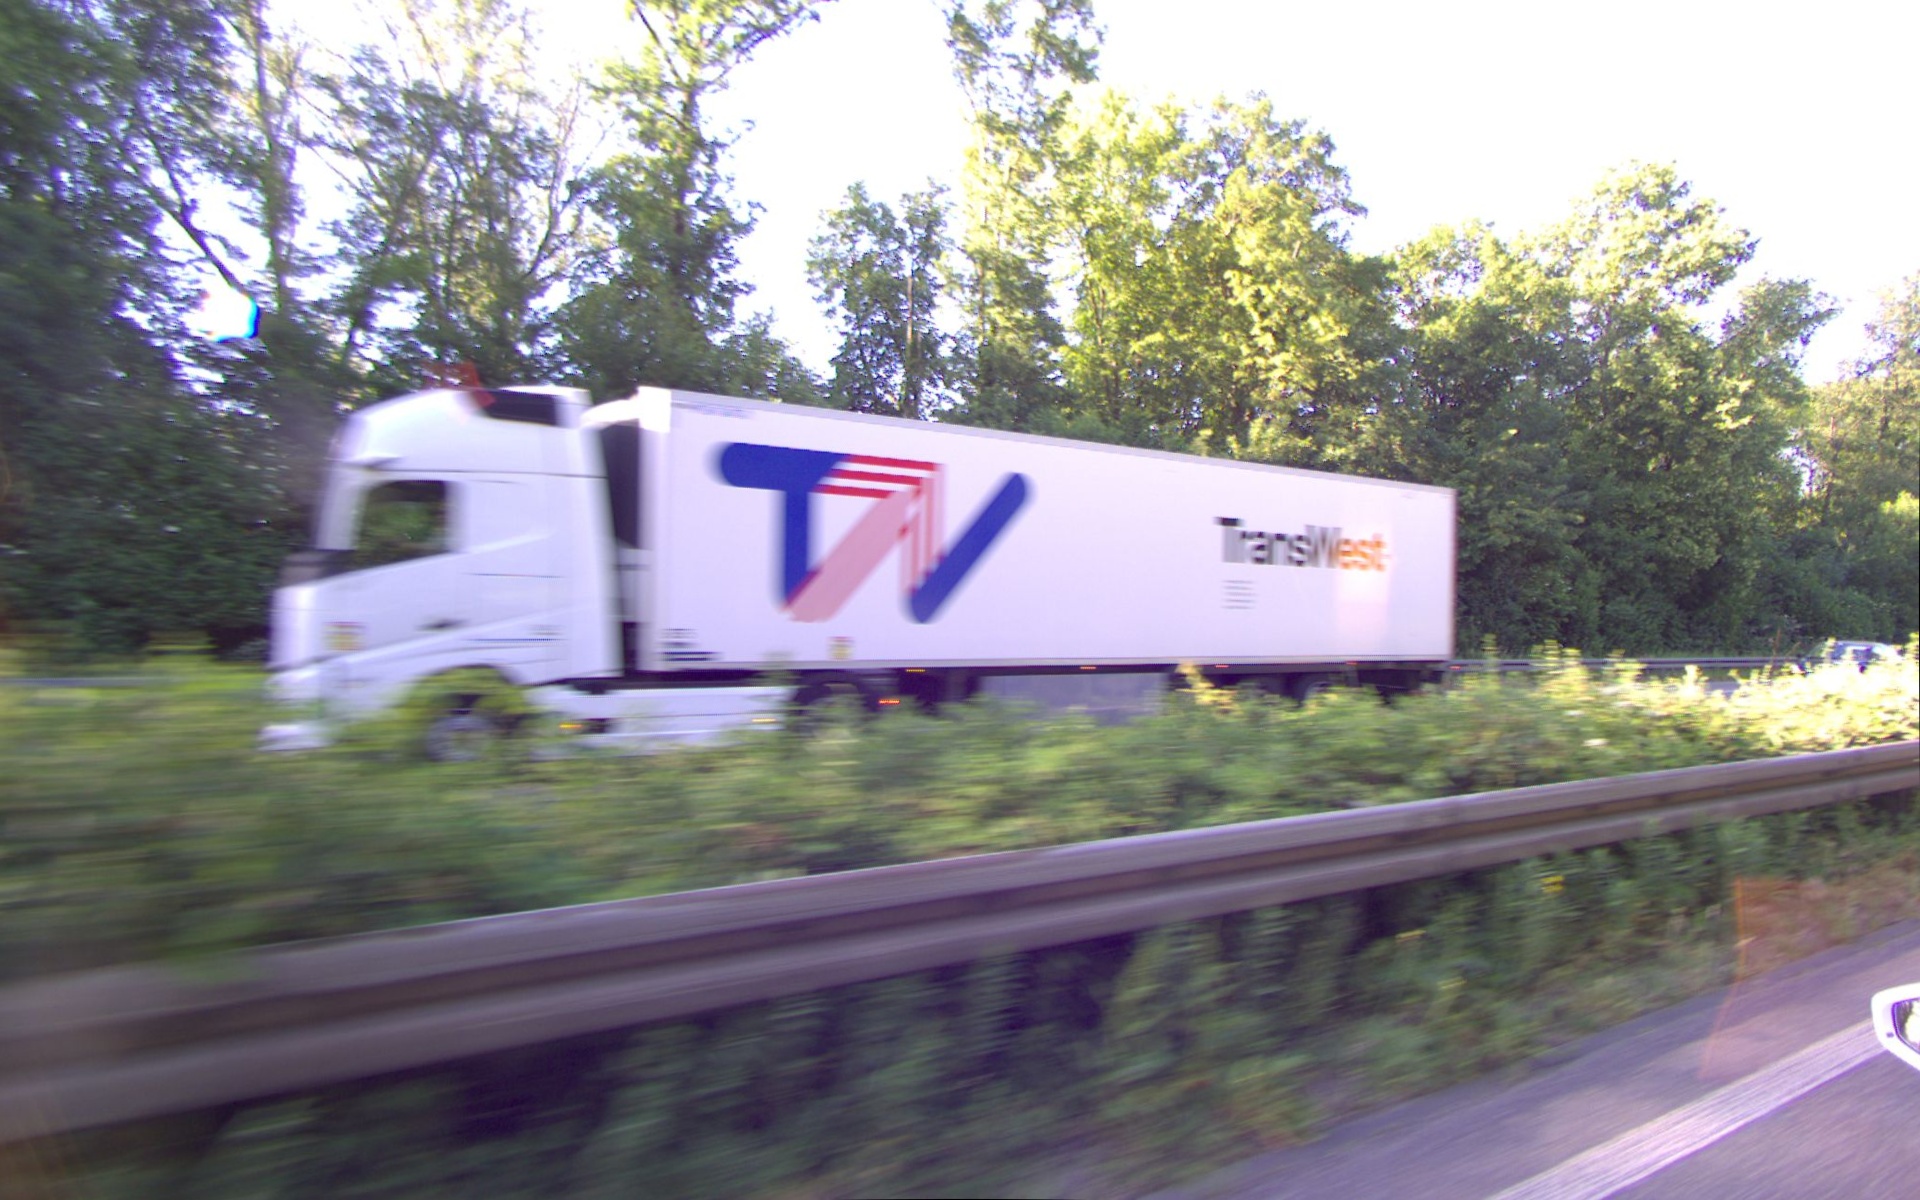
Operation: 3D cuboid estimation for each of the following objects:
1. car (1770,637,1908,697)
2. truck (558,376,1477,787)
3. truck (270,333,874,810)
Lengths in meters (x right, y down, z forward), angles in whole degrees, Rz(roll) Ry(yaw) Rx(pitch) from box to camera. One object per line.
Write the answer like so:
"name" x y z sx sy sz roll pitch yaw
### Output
"car" 24.235 1.816 27.671 3.748 1.492 1.755 2 0 -30
"truck" 1.871 -0.036 14.993 14.281 4.066 3.228 1 0 -30
"truck" -4.220 -0.196 11.391 5.610 4.066 3.213 1 0 -30
